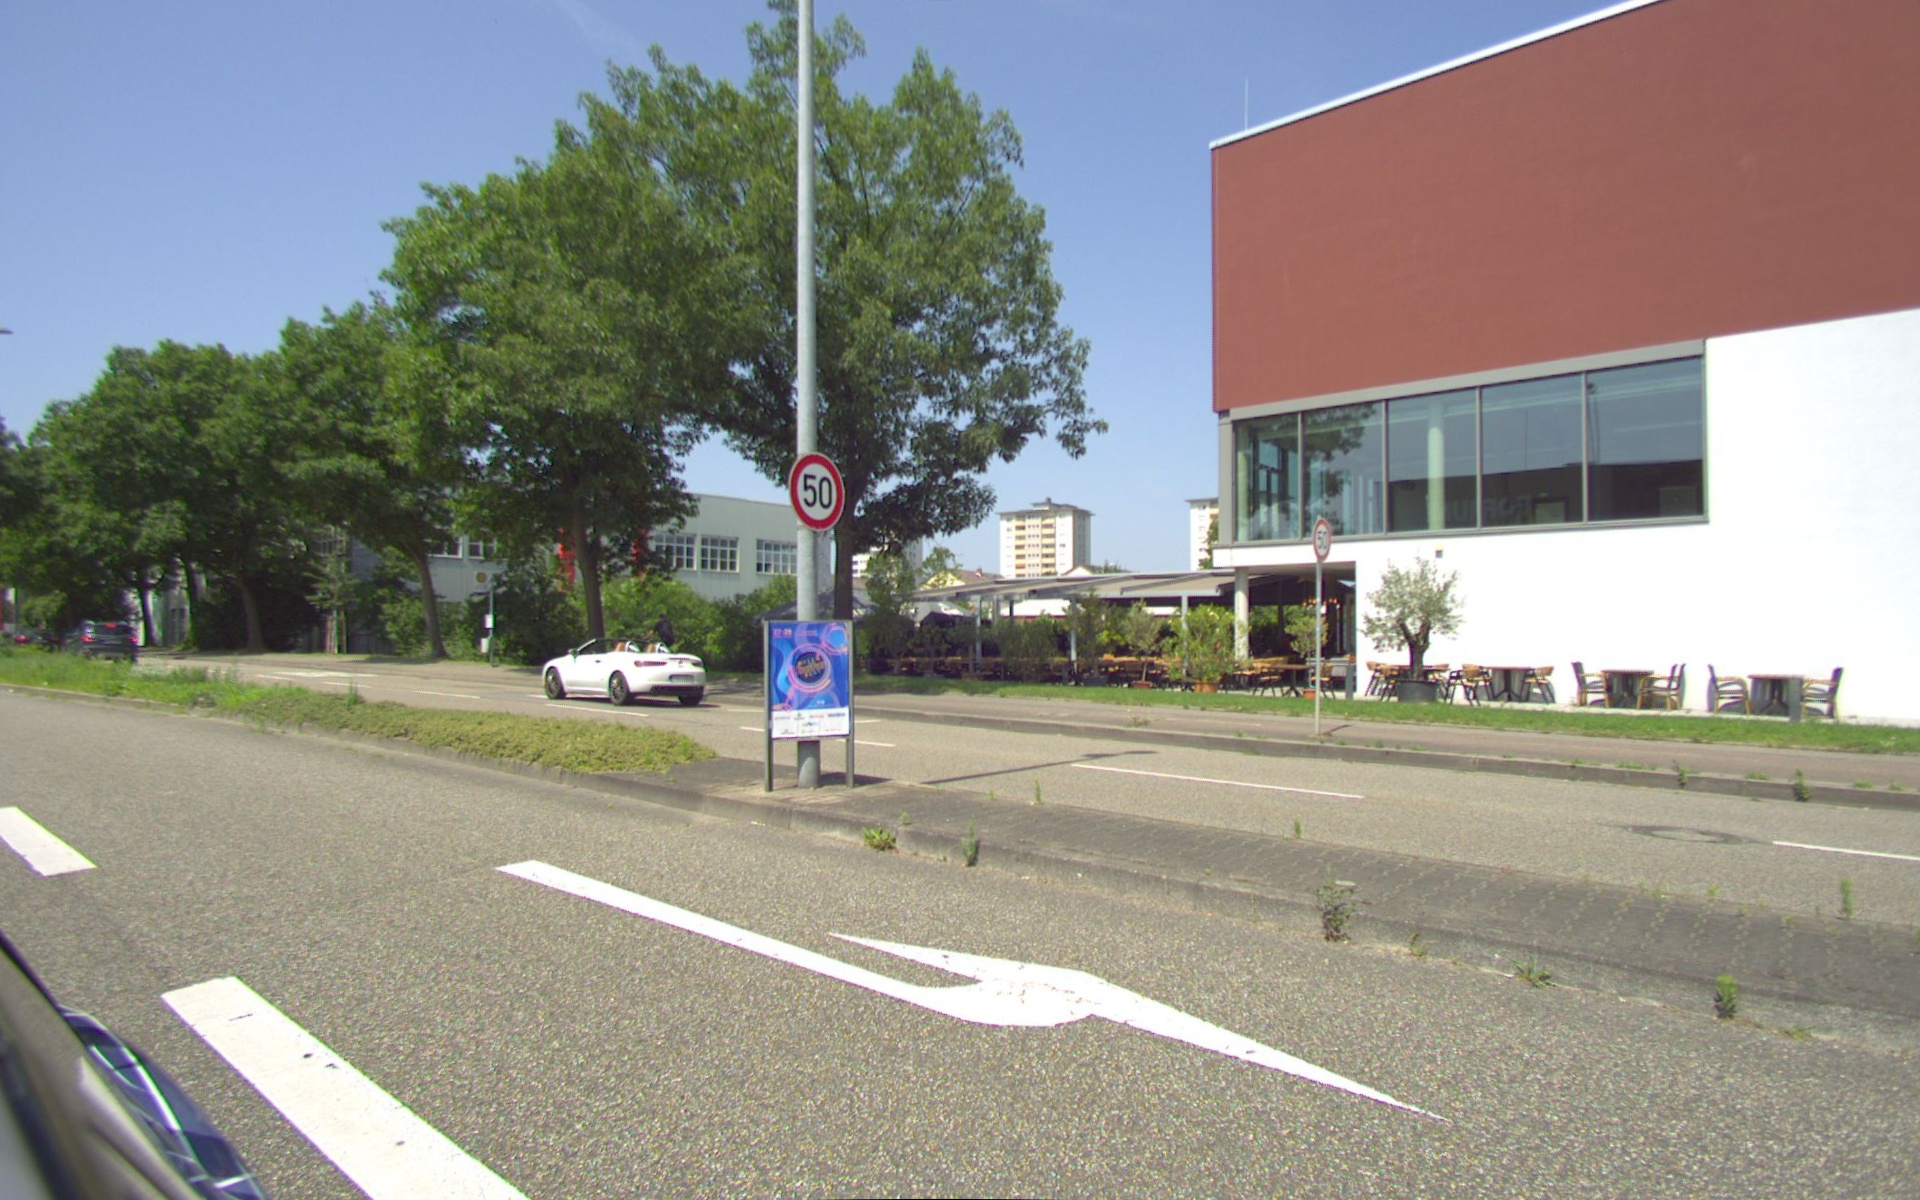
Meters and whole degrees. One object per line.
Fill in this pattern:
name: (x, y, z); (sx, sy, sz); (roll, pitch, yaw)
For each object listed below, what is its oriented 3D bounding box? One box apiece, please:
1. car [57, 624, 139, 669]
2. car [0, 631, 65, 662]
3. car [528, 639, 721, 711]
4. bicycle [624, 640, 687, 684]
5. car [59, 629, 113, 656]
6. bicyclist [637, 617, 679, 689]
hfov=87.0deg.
car: (-32.959, 1.774, 38.666); (3.881, 1.612, 1.670); (-1, -5, 40)
car: (-44.002, 2.206, 47.977); (3.996, 1.349, 1.662); (-1, -5, 39)
car: (-6.900, 1.483, 20.614); (4.298, 1.272, 1.700); (-1, -4, 40)
bicycle: (-7.792, 1.572, 25.881); (1.883, 1.059, 0.648); (-1, -2, 41)
car: (-49.743, 2.416, 57.561); (3.889, 1.464, 1.688); (-2, -5, 41)
bicyclist: (-7.687, 1.338, 25.768); (0.927, 1.783, 0.643); (-2, -2, 41)
